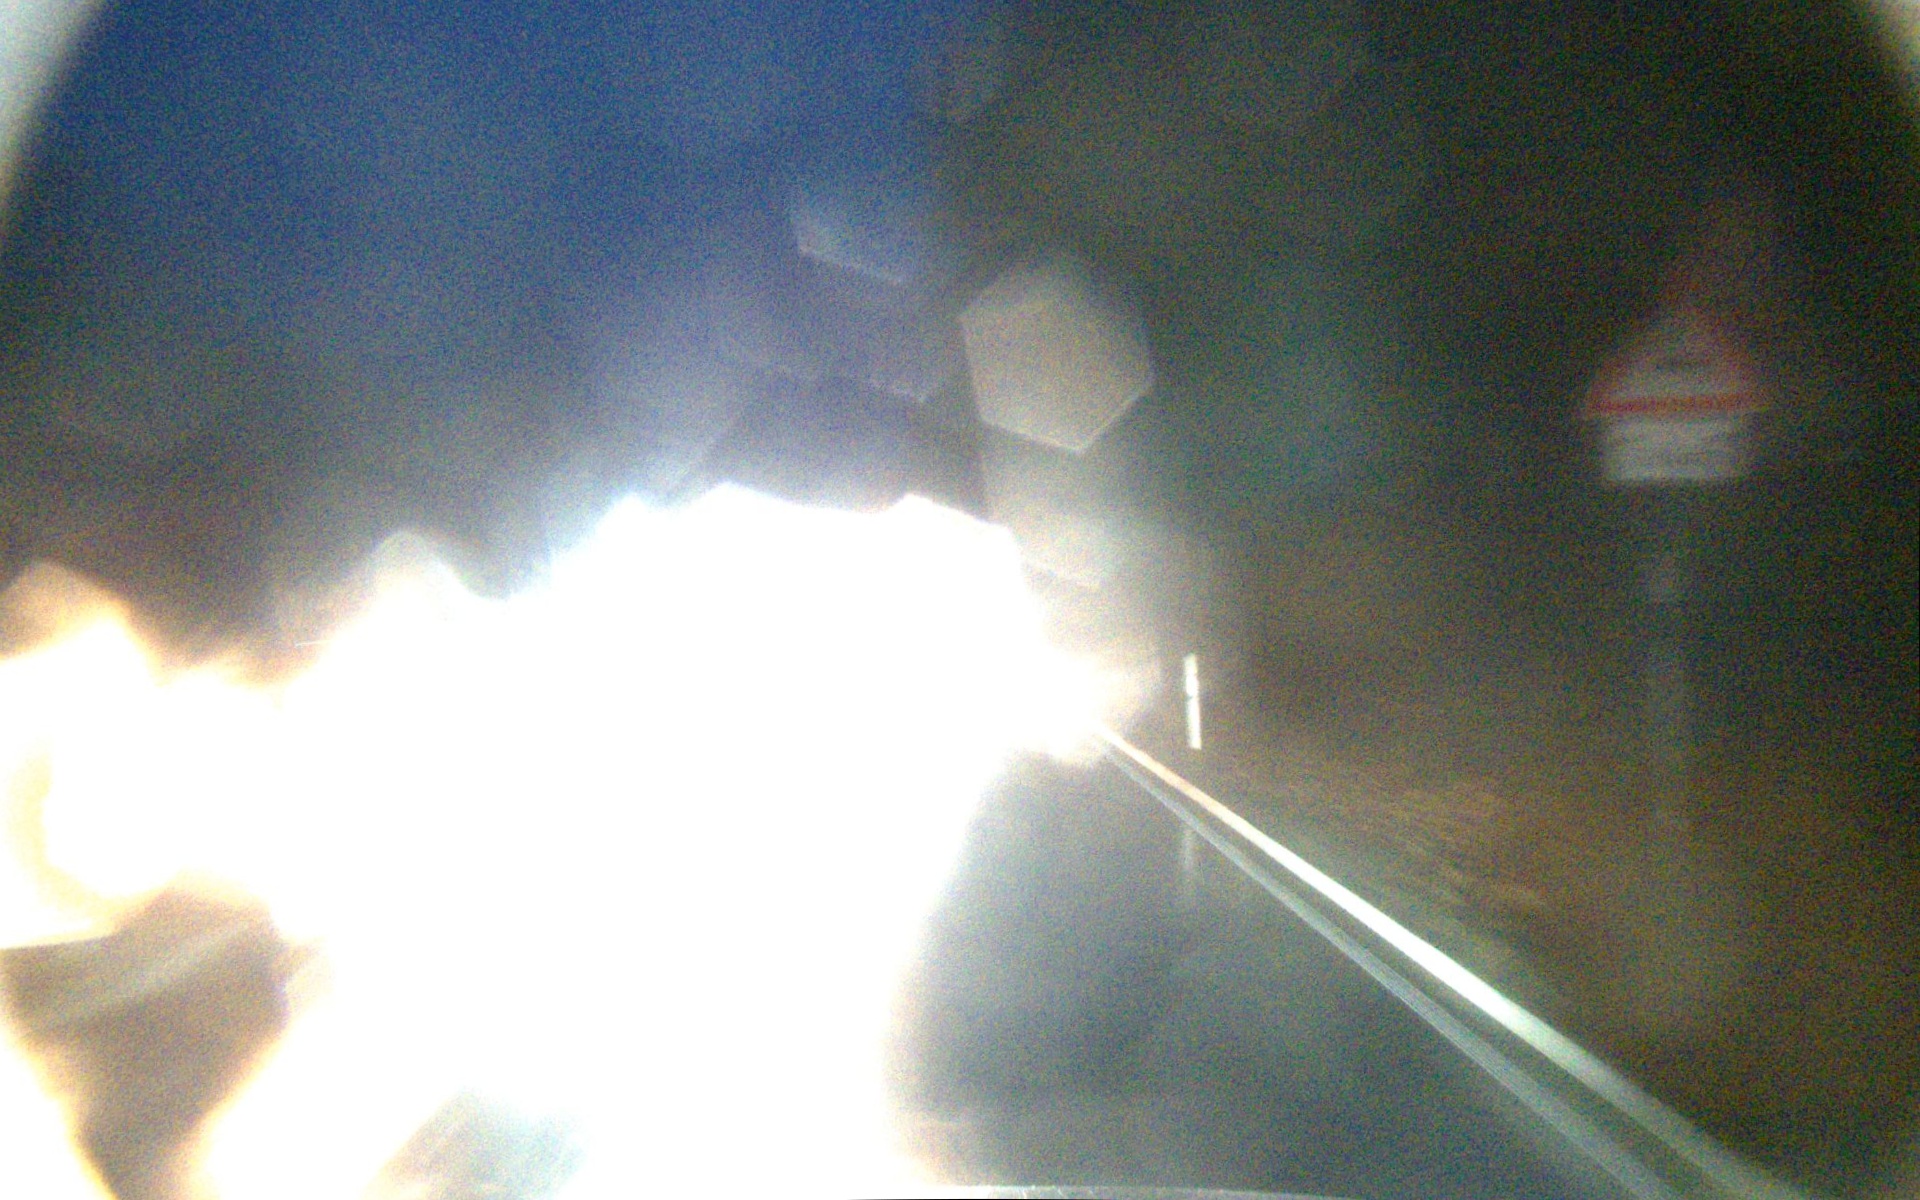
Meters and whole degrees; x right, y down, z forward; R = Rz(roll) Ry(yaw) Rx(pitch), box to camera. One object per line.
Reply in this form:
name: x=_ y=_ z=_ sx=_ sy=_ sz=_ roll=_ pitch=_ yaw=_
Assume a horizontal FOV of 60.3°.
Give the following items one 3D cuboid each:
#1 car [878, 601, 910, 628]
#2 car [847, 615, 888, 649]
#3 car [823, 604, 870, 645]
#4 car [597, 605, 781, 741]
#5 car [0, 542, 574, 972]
car: x=-4.419 y=1.007 z=110.846 sx=1.999 sy=1.635 sz=3.996 roll=-3 pitch=-1 yaw=-2
car: x=-4.763 y=1.671 z=85.929 sx=1.850 sy=1.663 sz=4.389 roll=-3 pitch=-1 yaw=-1
car: x=-4.306 y=0.906 z=63.375 sx=1.666 sy=1.493 sz=4.039 roll=0 pitch=0 yaw=-2
car: x=-3.543 y=0.900 z=22.314 sx=1.850 sy=1.614 sz=3.999 roll=0 pitch=0 yaw=-1
car: x=-3.382 y=0.615 z=8.586 sx=1.850 sy=1.700 sz=3.999 roll=0 pitch=0 yaw=-1
